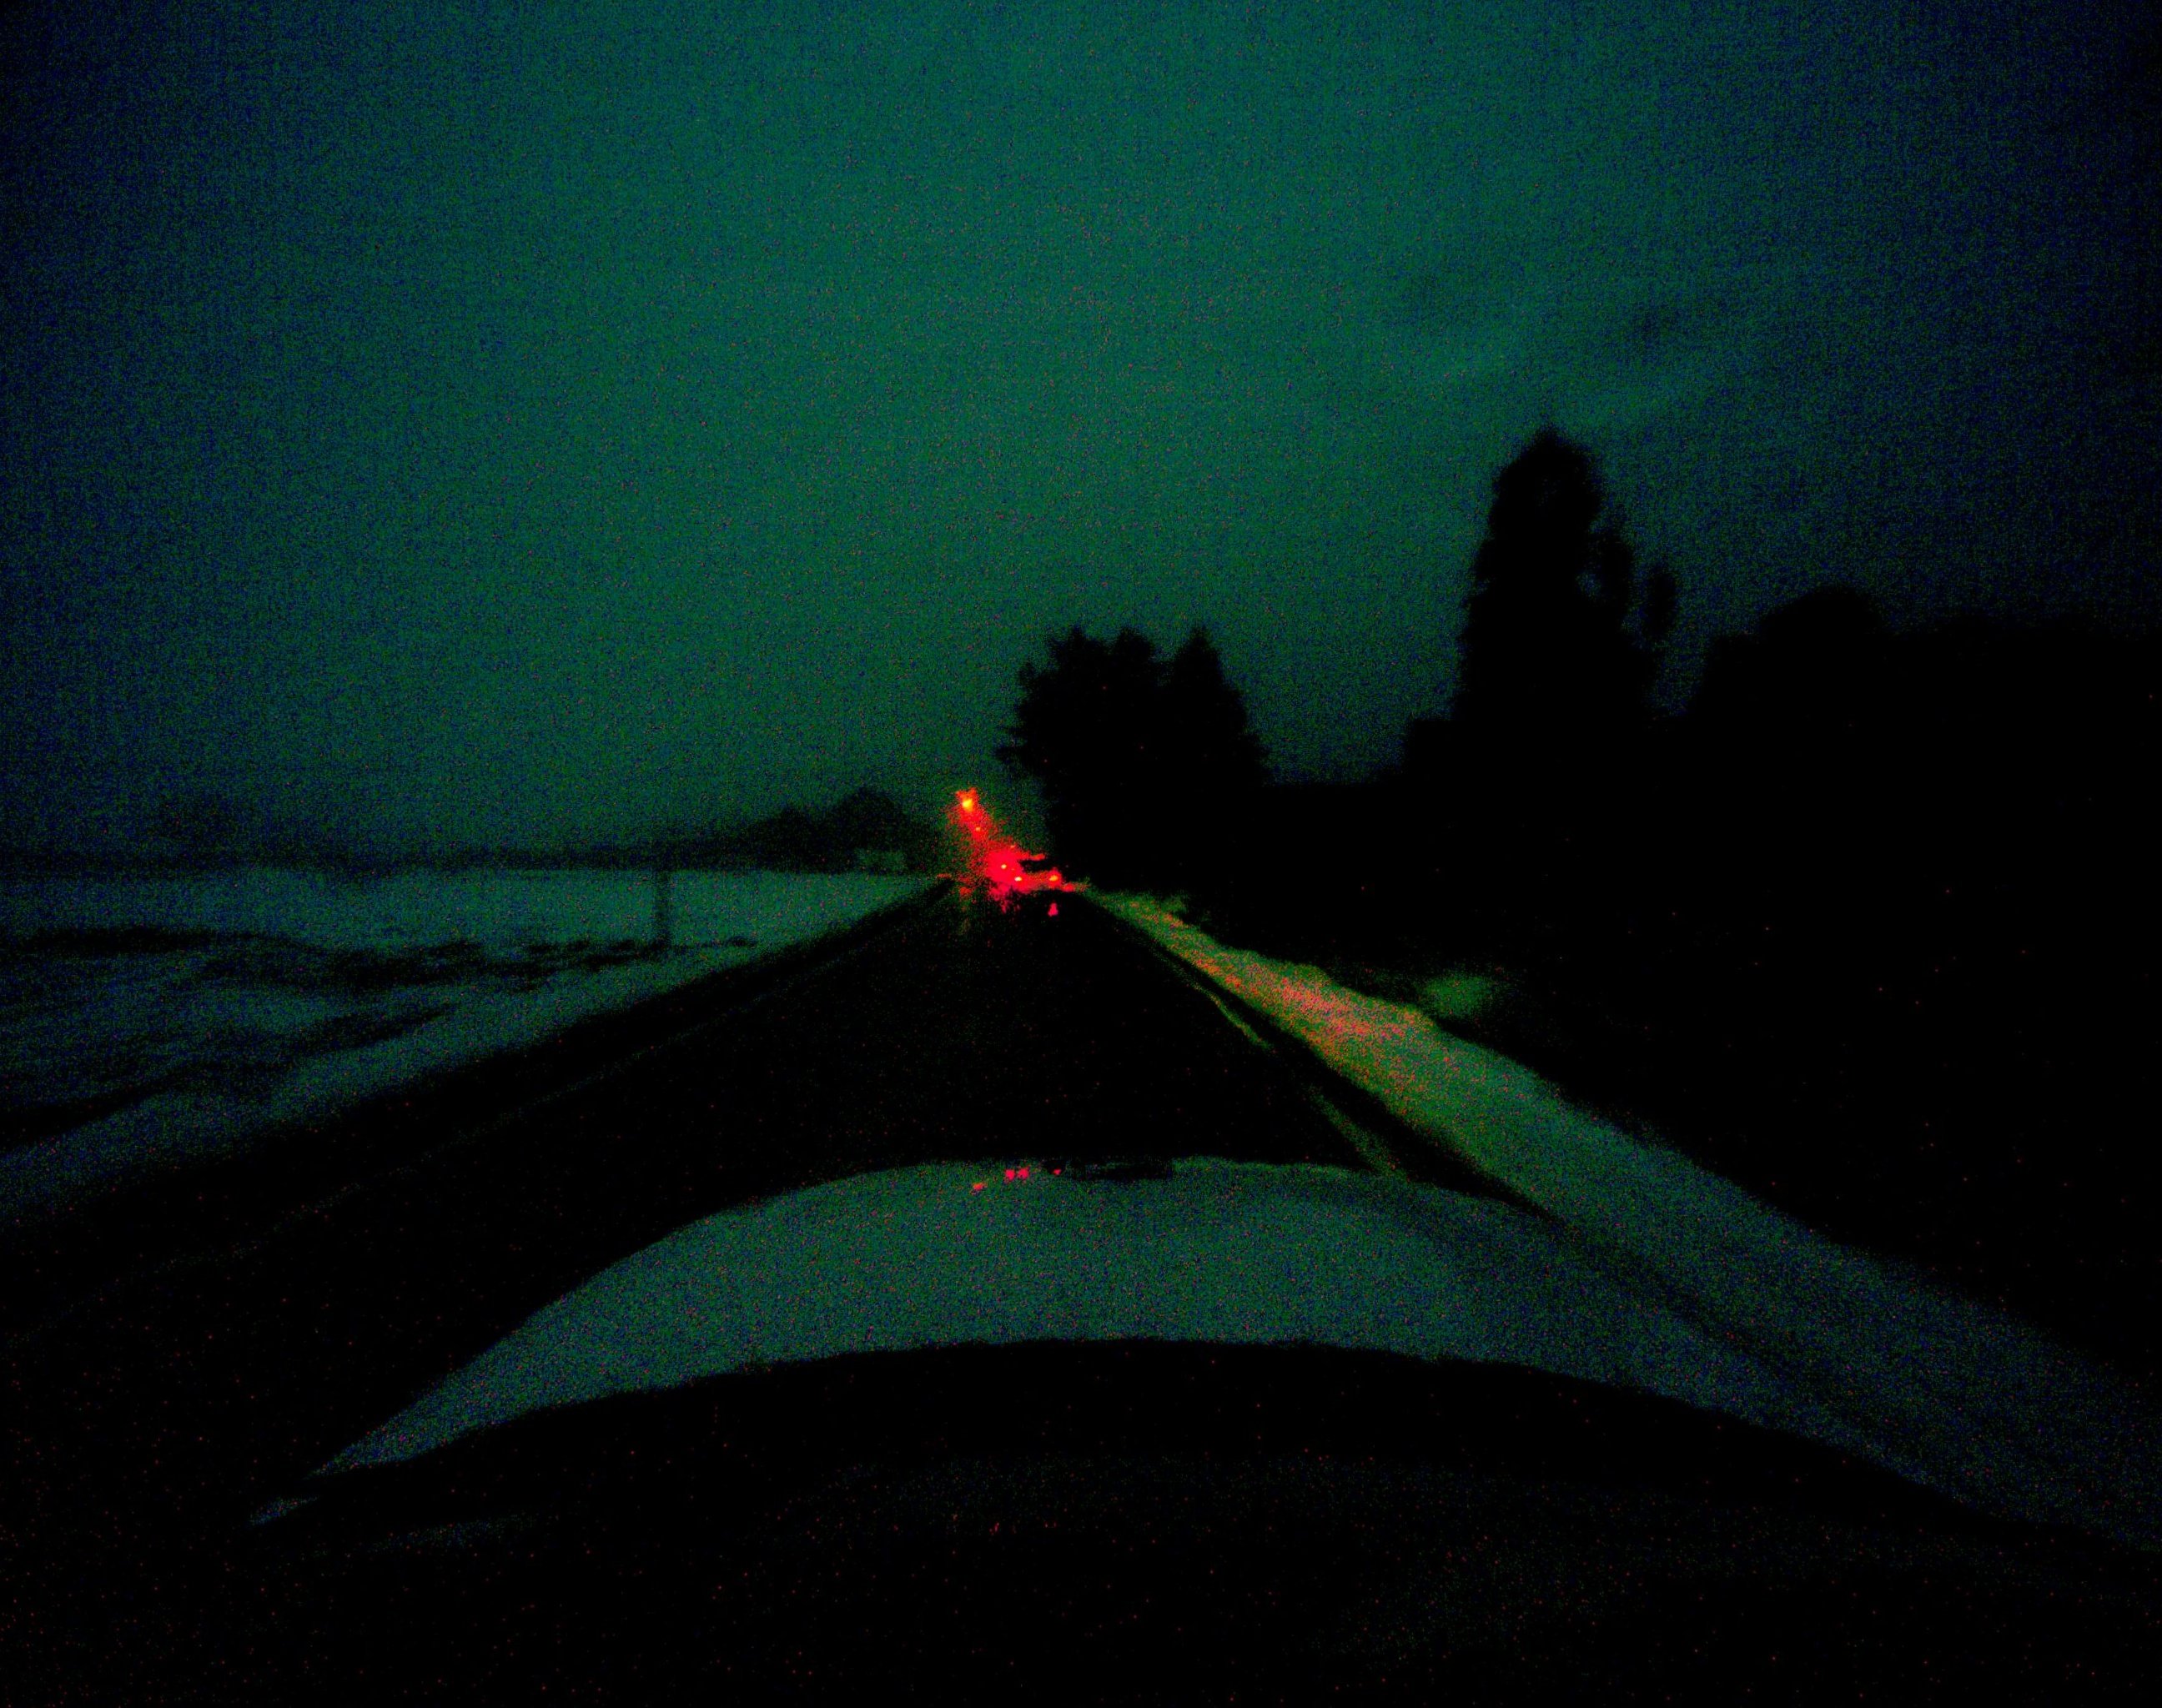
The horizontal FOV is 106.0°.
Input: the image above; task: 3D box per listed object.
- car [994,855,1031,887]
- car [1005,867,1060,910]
[{"bbox_3d":[-3.969,0.987,47.865,1.989,1.750,3.995,-1,-1,-3],"label":"car"},{"bbox_3d":[-1.926,1.306,32.049,1.990,1.508,3.994,-1,-1,-4],"label":"car"}]
